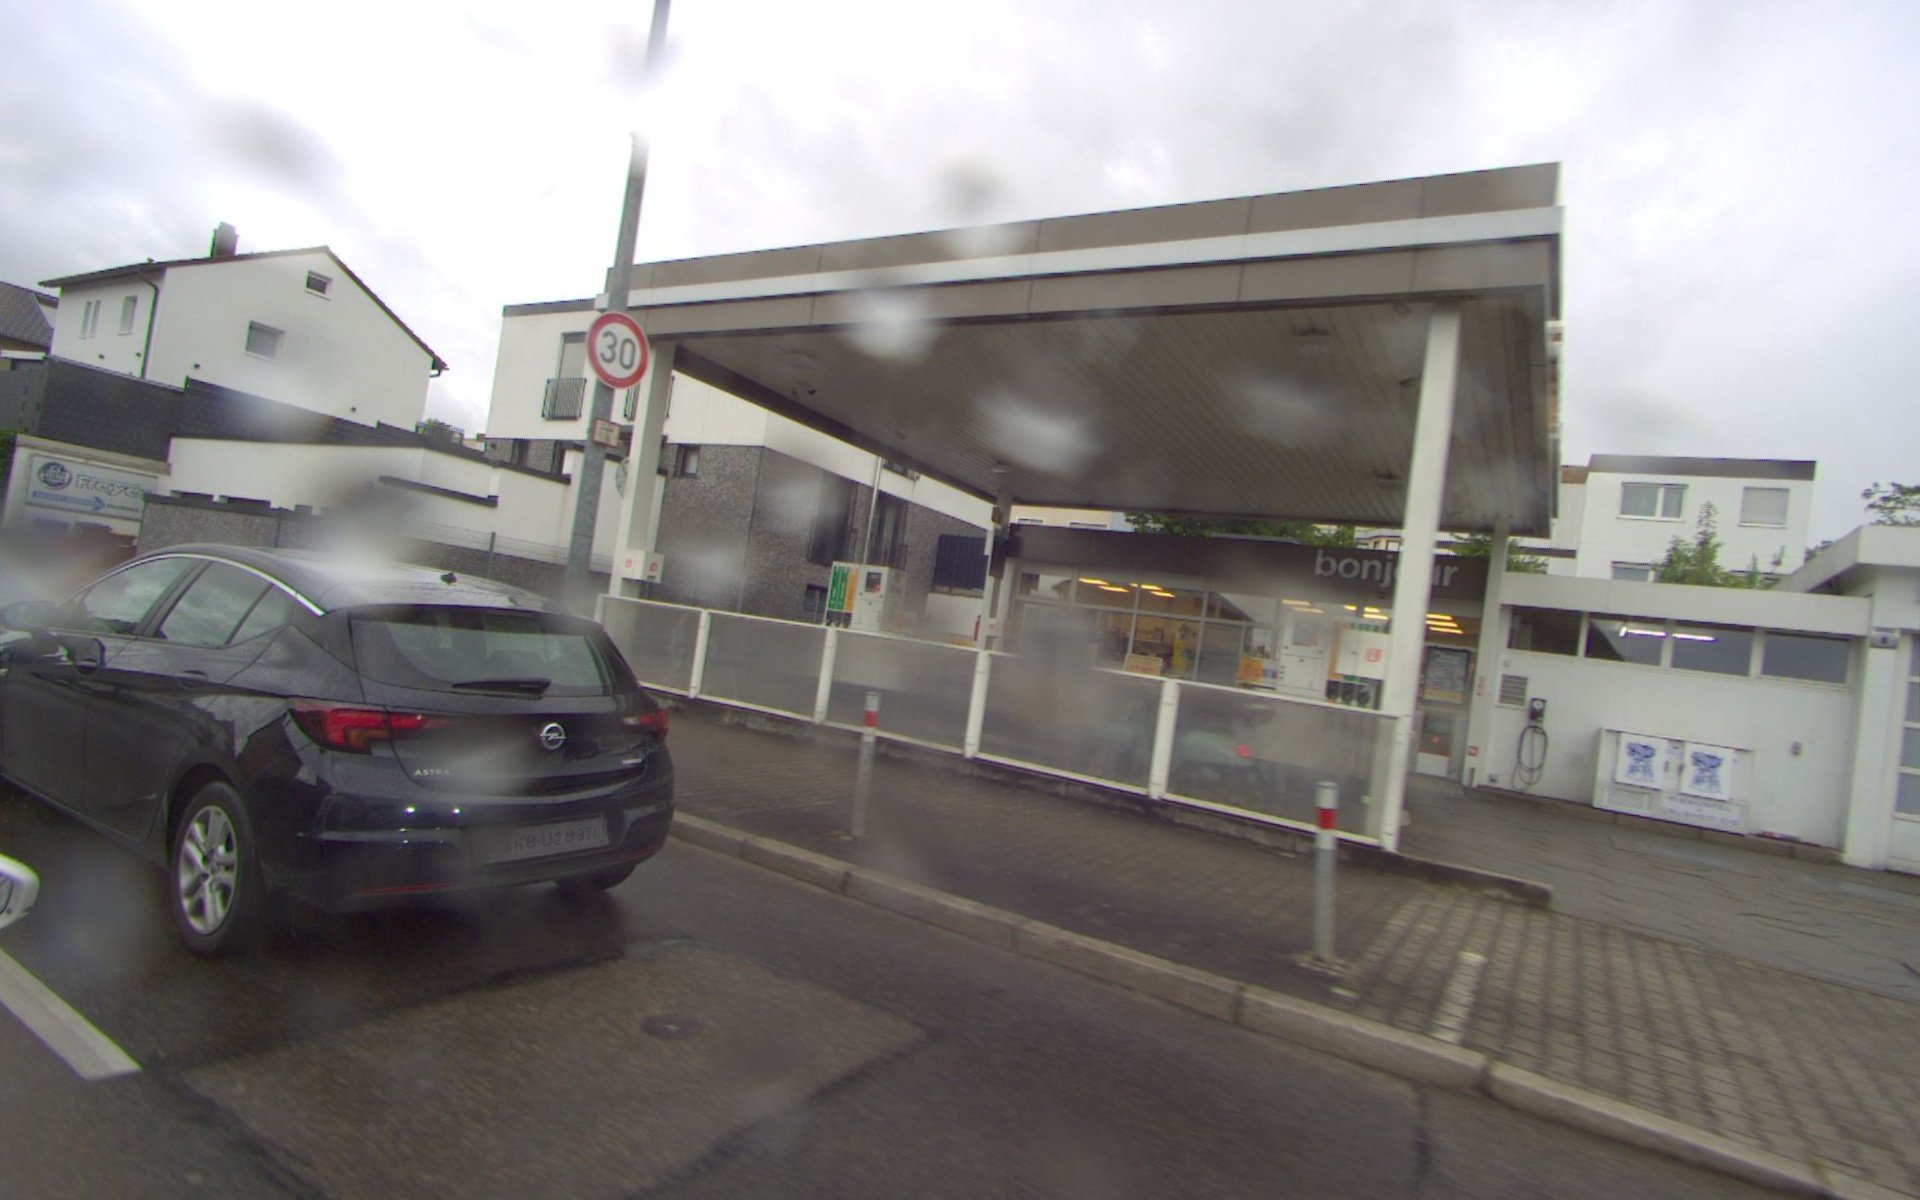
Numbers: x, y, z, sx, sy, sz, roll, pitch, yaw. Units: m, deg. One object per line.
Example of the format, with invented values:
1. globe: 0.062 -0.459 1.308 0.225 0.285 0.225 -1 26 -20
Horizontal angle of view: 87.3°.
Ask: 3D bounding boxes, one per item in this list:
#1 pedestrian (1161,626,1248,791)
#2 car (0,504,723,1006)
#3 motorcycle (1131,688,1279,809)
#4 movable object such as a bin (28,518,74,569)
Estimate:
1. pedestrian: 2.659 1.169 10.920 0.576 1.675 0.611 7 -1 32
2. car: -3.311 0.463 4.964 3.933 1.466 1.760 6 -2 31
3. motorcycle: 2.648 1.585 10.916 1.367 1.067 0.463 6 -1 32
4. movable object such as a bin: -21.757 -1.347 24.079 0.656 1.119 0.596 7 2 32
